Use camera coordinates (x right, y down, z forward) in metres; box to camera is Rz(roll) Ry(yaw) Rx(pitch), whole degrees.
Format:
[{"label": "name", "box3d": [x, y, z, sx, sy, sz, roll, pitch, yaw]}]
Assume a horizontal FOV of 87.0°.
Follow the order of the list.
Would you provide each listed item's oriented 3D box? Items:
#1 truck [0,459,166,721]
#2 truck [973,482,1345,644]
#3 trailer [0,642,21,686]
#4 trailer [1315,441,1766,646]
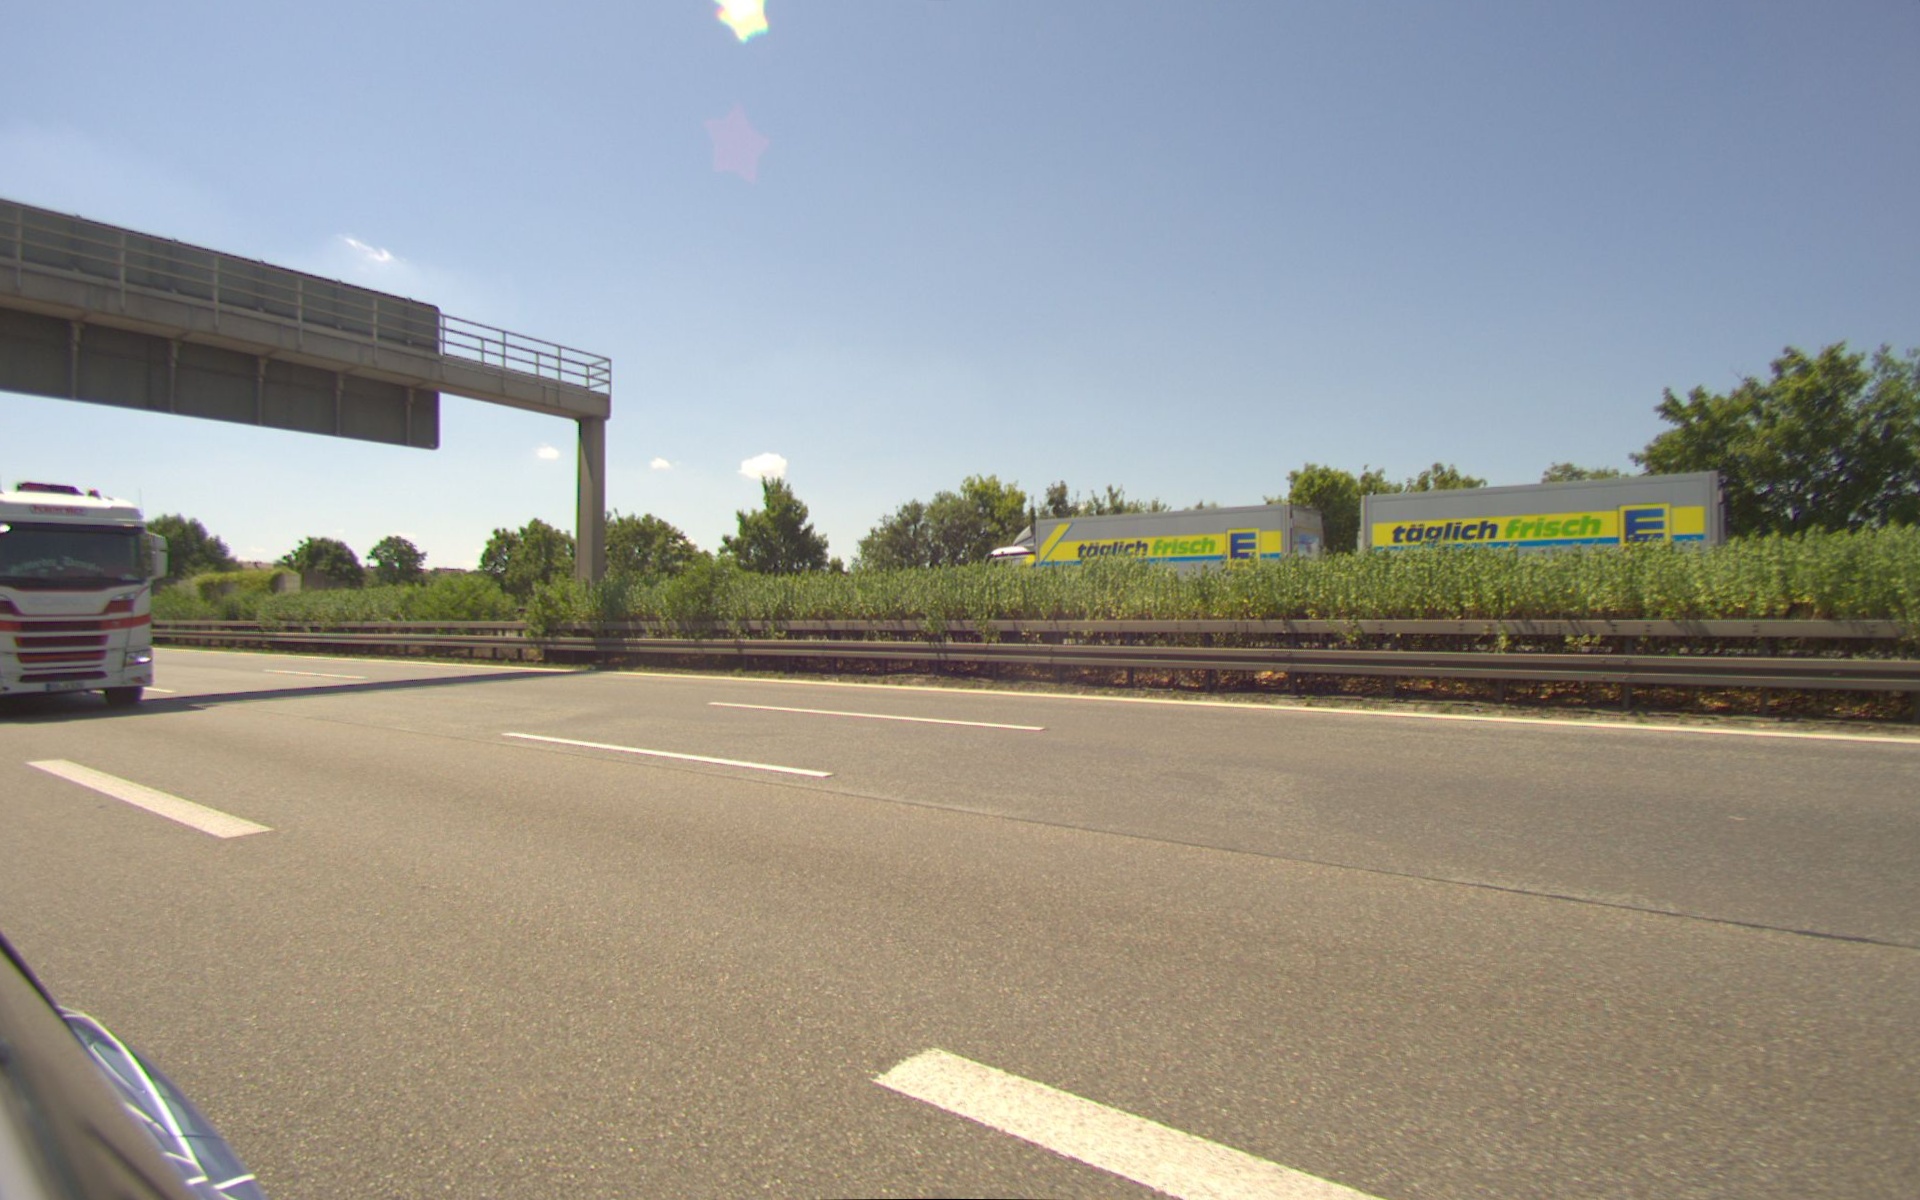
[{"label": "truck", "box3d": [-17.867, -0.080, 18.547, 10.655, 3.831, 2.689, -1, 0, 38]}, {"label": "truck", "box3d": [5.400, -0.833, 29.335, 10.303, 3.997, 2.974, -1, -1, 37]}, {"label": "trailer", "box3d": [-25.068, 1.503, 24.139, 7.748, 0.941, 2.689, -1, 0, 38]}, {"label": "trailer", "box3d": [13.097, -1.033, 23.544, 8.643, 3.997, 2.896, -1, -1, 37]}]
